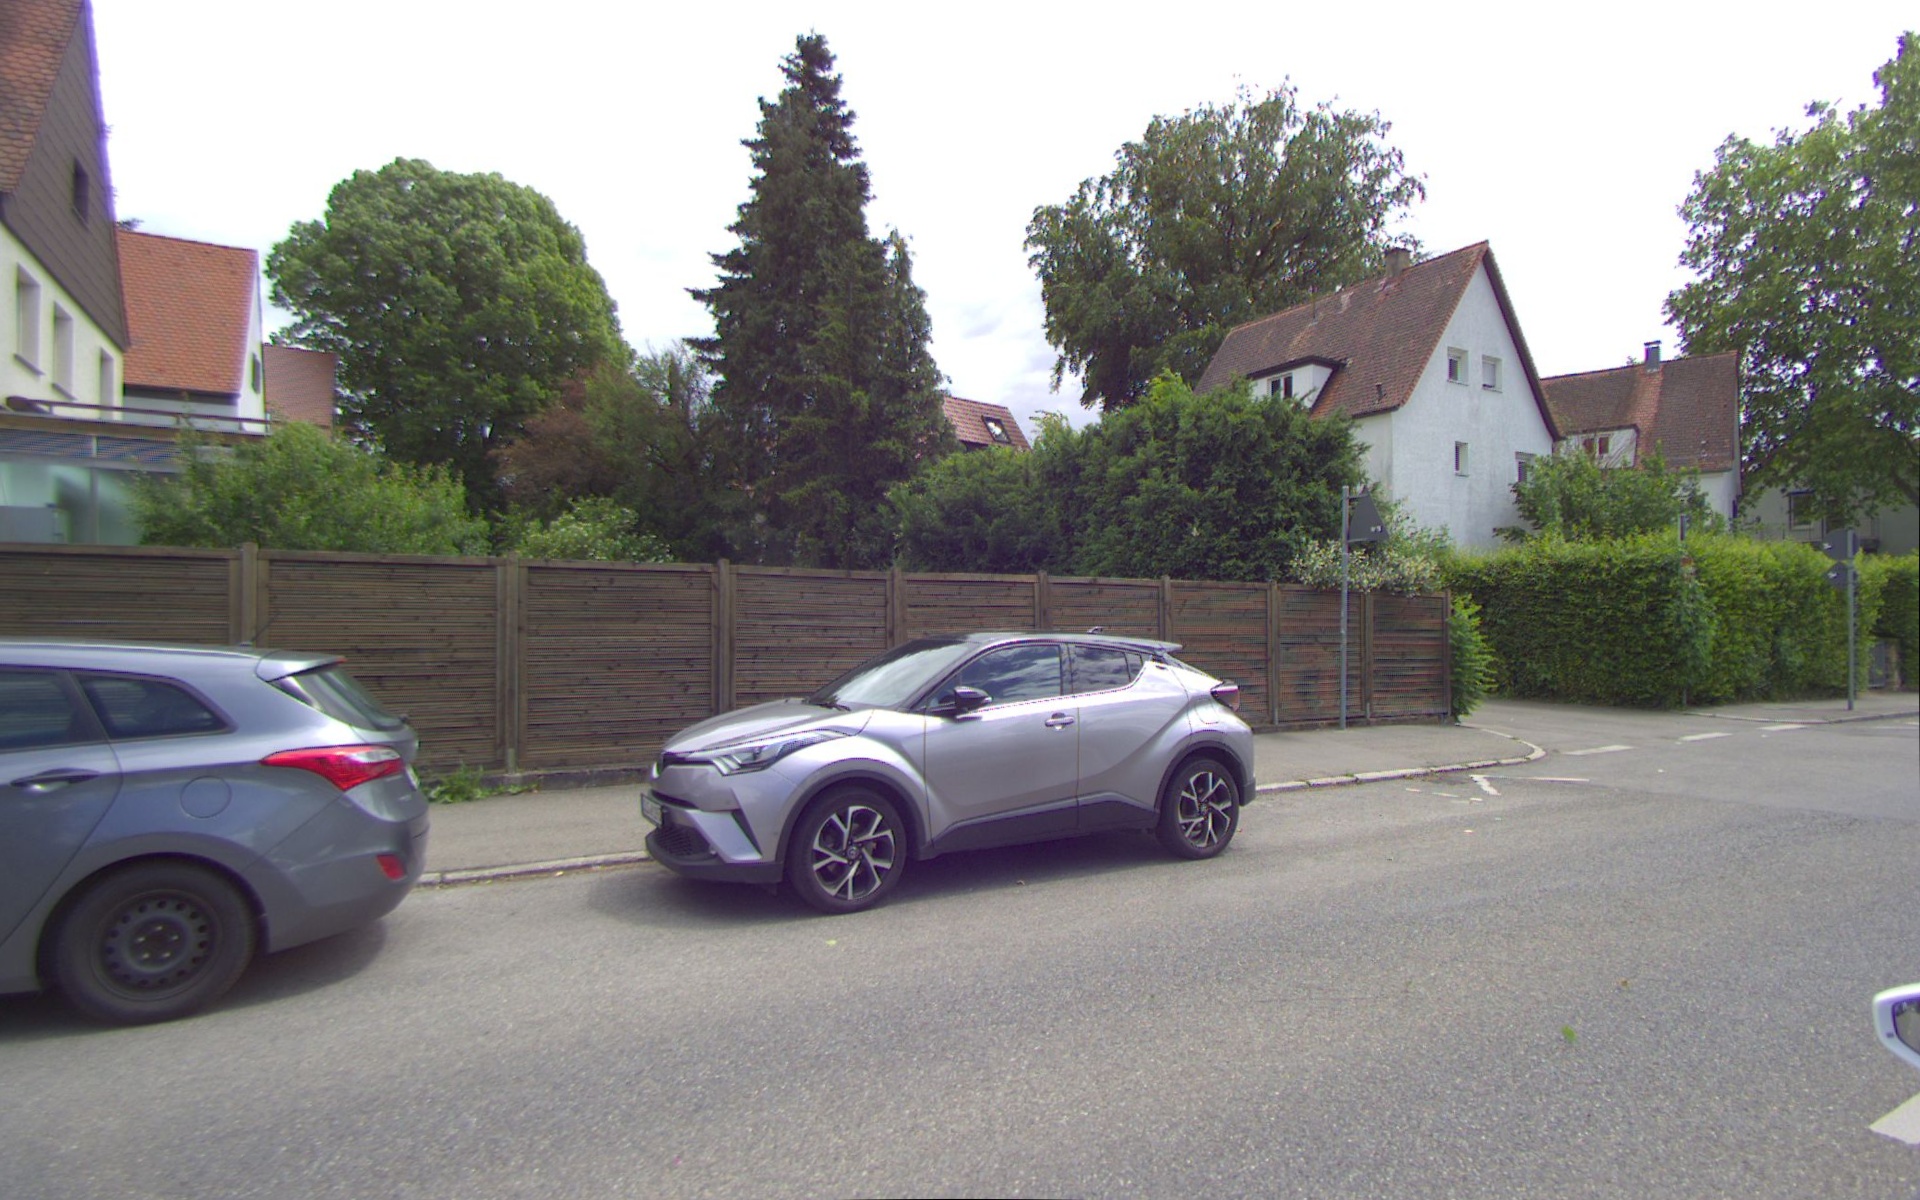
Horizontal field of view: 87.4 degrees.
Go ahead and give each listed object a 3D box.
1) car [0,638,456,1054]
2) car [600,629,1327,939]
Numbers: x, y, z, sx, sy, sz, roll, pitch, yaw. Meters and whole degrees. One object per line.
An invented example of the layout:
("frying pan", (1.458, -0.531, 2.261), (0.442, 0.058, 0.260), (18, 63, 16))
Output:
("car", (-4.567, 0.914, 4.109), (4.433, 1.478, 1.859), (1, -2, -29))
("car", (0.088, 0.967, 6.854), (4.588, 1.499, 1.986), (1, -3, -28))
